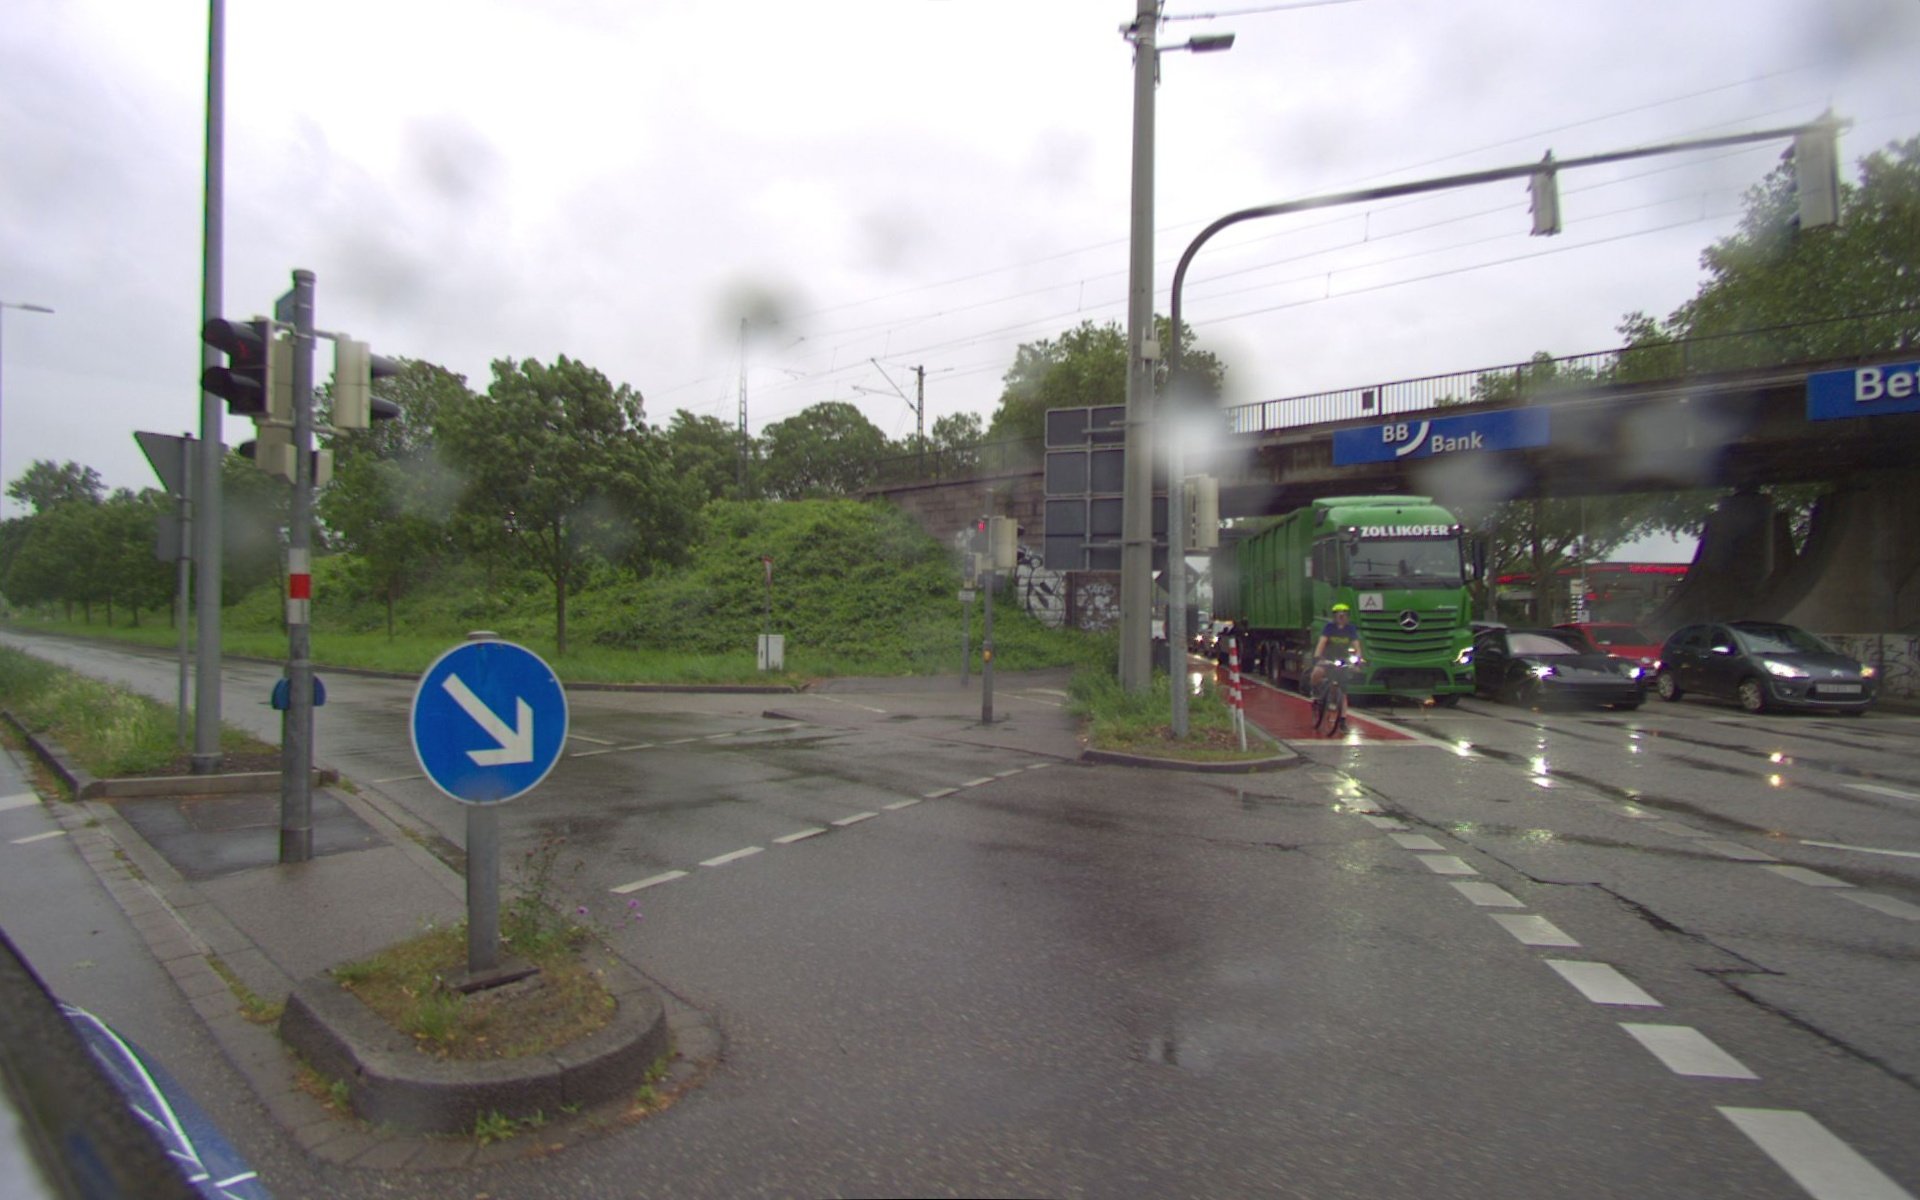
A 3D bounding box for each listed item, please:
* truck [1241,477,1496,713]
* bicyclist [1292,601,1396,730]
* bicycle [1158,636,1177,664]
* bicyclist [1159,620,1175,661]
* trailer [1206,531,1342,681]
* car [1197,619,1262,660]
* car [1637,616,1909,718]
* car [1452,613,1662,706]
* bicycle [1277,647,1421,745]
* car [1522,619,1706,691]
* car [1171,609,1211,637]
[{"bbox_3d":[8.316,0.018,22.252,2.656,3.979,10.171,0,-1,7],"label":"truck"},{"bbox_3d":[5.024,0.820,13.295,0.791,1.605,1.050,0,0,-18],"label":"bicyclist"},{"bbox_3d":[9.076,2.168,44.353,0.699,1.103,1.907,-1,0,9],"label":"bicycle"},{"bbox_3d":[9.079,1.761,44.327,0.661,1.748,0.687,0,-1,9],"label":"bicyclist"},{"bbox_3d":[9.493,0.220,31.555,2.658,4.017,8.499,0,-1,8],"label":"trailer"},{"bbox_3d":[11.037,1.593,41.677,1.975,1.586,3.992,0,-1,6],"label":"car"},{"bbox_3d":[13.796,1.074,17.526,1.638,1.558,3.995,0,-1,4],"label":"car"},{"bbox_3d":[10.885,1.029,18.885,1.726,1.497,4.671,0,-1,9],"label":"car"},{"bbox_3d":[5.040,1.207,13.260,0.683,1.103,1.919,-1,0,-18],"label":"bicycle"},{"bbox_3d":[14.617,1.176,22.908,1.798,1.463,3.993,0,-1,5],"label":"car"},{"bbox_3d":[12.626,1.245,55.441,1.807,1.481,3.989,0,-1,8],"label":"car"}]
